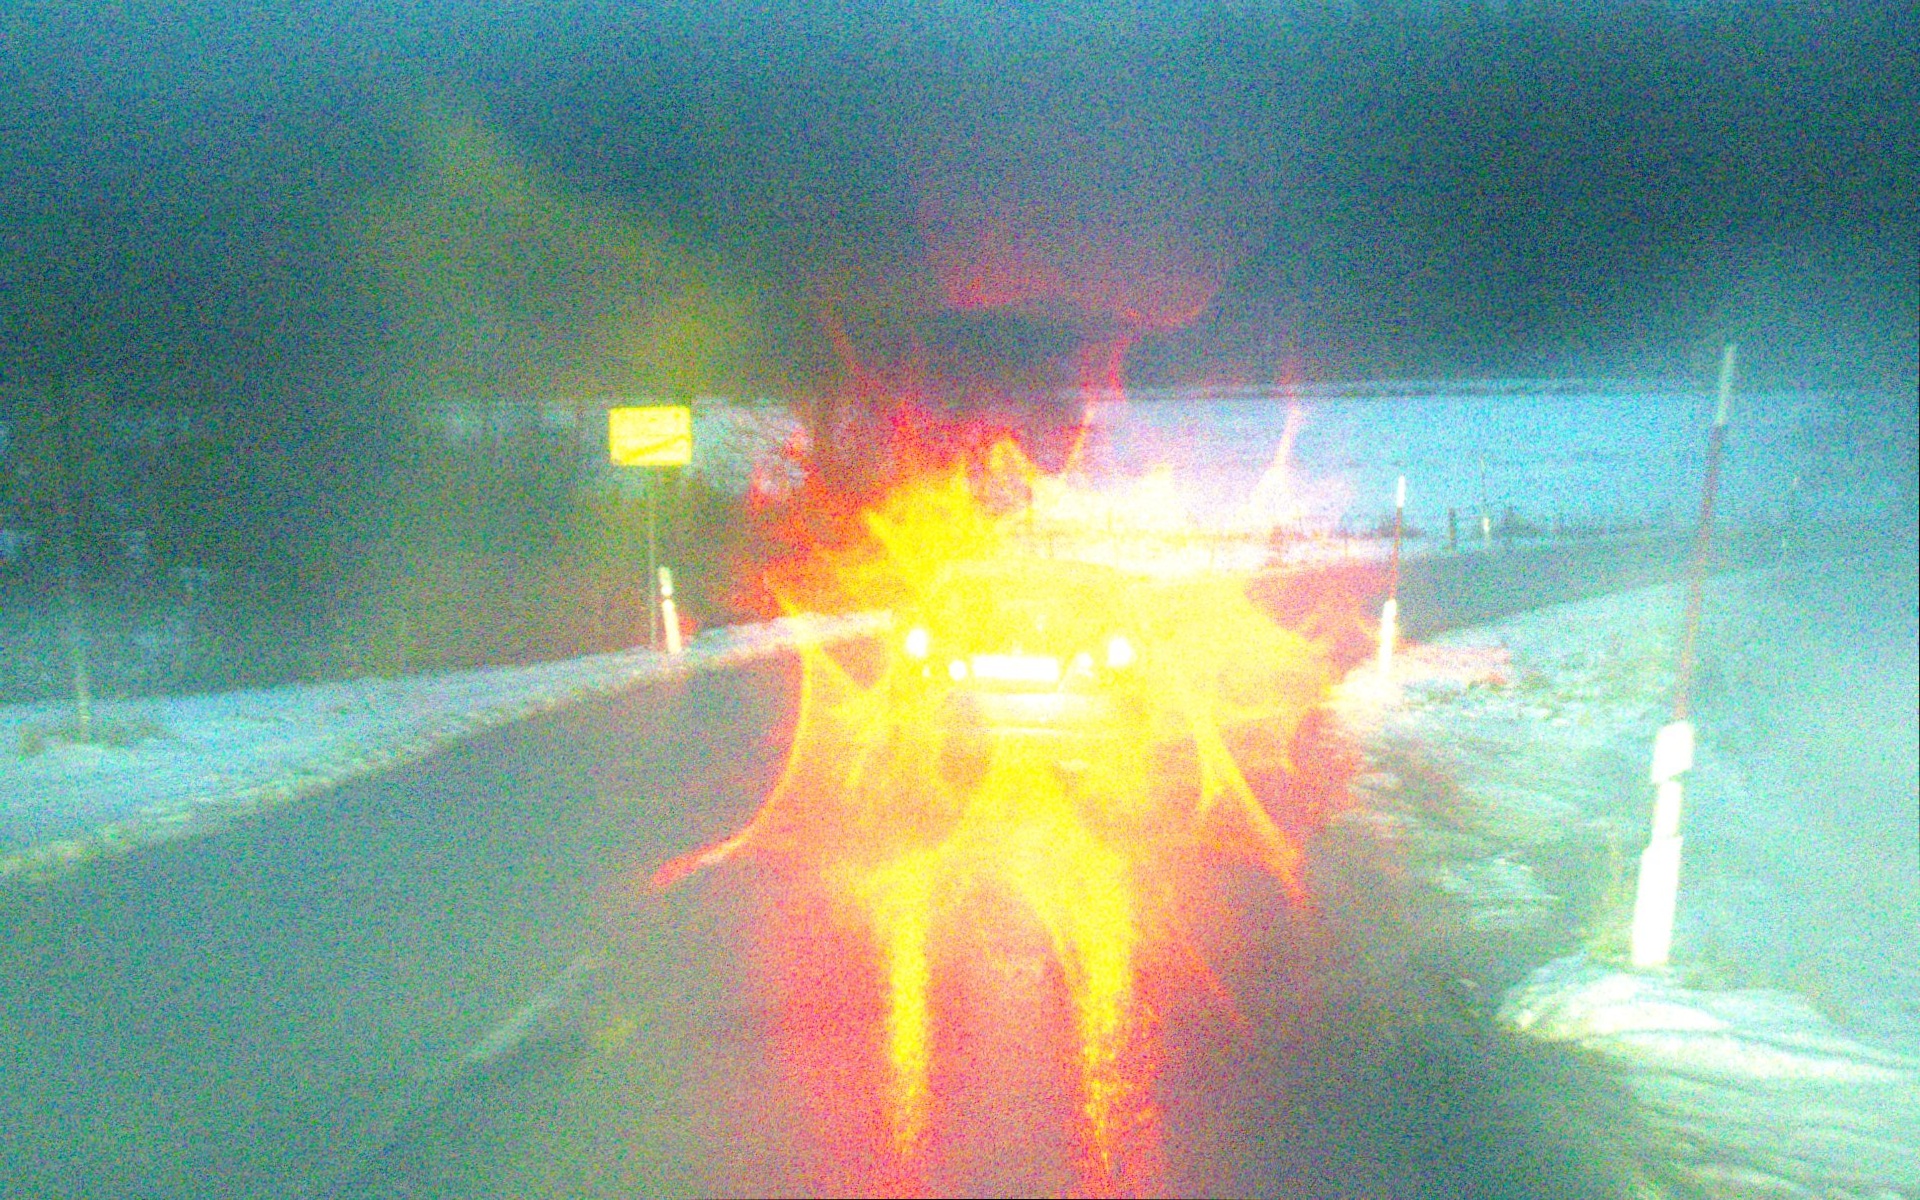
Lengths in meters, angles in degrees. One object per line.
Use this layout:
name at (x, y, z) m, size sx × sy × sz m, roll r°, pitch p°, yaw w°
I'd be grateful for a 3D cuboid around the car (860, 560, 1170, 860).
car at (0.290, 0.683, 23.142) m, size 1.822 × 1.790 × 3.578 m, roll 2°, pitch 0°, yaw -2°
